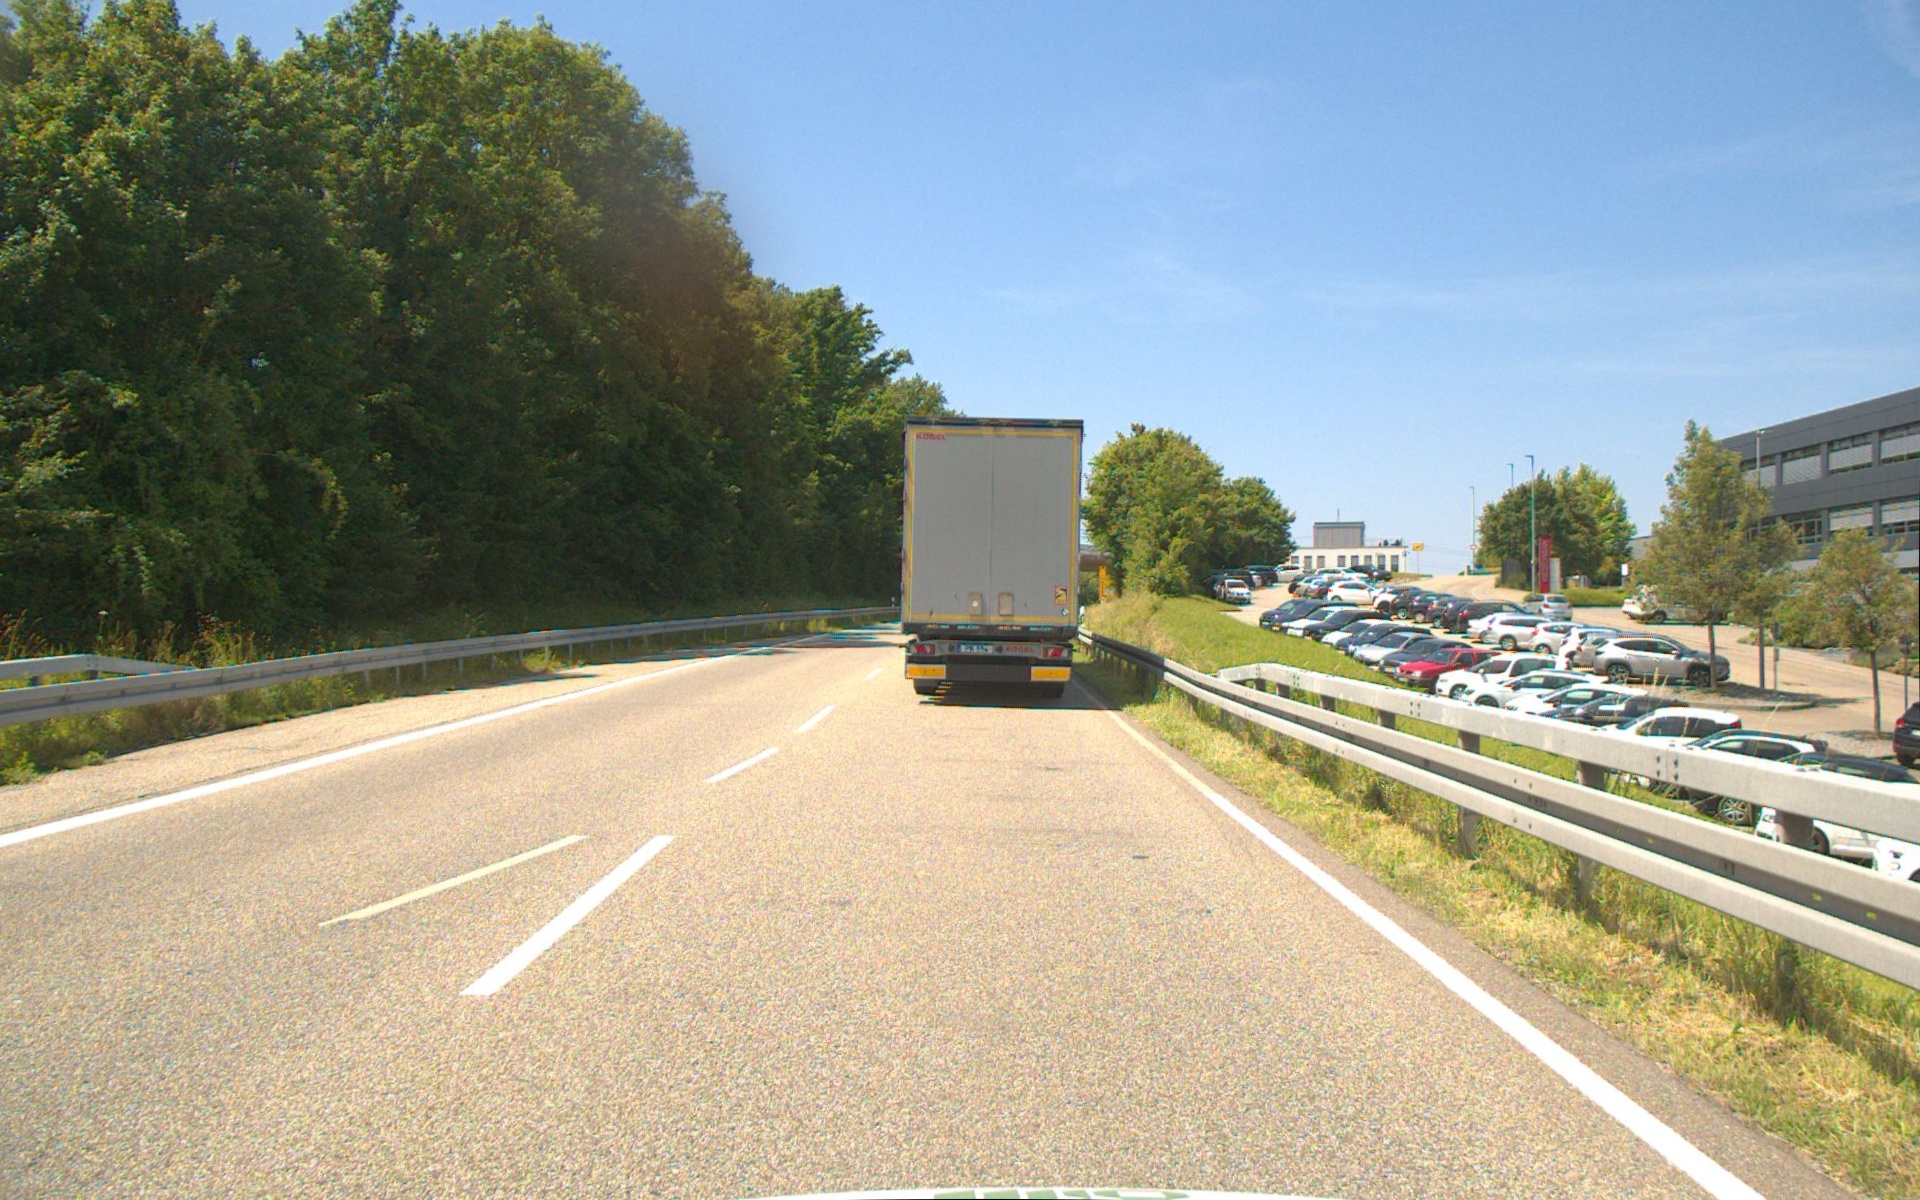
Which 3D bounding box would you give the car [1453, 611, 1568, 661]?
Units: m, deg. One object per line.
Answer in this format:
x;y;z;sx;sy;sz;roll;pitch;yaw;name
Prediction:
24.392;1.565;73.353;4.487;1.656;1.818;7;3;28;car

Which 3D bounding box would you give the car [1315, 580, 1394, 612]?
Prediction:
24.554;-0.262;102.931;4.480;1.656;1.820;4;2;22;car

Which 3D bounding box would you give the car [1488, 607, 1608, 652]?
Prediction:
24.824;1.236;69.919;4.489;1.546;1.817;3;5;32;car

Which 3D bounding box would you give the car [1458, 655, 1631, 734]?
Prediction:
16.753;2.665;47.451;4.285;1.585;1.884;7;3;30;car

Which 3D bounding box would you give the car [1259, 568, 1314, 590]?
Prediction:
28.144;-1.801;142.563;4.312;1.714;1.872;0;5;-28;car

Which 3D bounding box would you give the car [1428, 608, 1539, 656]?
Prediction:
24.119;1.436;76.222;4.487;1.656;1.818;7;3;28;car

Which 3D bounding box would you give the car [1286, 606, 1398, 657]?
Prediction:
16.129;1.337;69.779;4.312;1.714;1.872;4;3;-28;car

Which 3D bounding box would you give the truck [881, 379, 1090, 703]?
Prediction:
0.410;-0.847;27.885;2.807;4.435;9.789;1;0;1;truck

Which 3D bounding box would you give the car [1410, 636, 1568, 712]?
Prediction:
16.239;2.234;50.793;4.358;1.714;1.888;7;3;23;car

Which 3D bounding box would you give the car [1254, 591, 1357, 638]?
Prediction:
15.907;0.663;76.070;4.312;1.714;1.872;4;3;-28;car

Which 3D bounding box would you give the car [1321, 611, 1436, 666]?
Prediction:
16.140;1.487;63.670;4.328;1.714;1.866;4;3;-36;car

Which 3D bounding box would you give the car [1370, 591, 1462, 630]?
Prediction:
25.043;0.573;90.929;4.487;1.656;1.818;7;3;28;car

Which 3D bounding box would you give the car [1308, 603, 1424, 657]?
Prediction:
16.465;1.221;67.020;4.312;1.714;1.872;4;3;-28;car

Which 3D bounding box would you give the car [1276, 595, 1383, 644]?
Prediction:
16.376;0.873;73.277;4.312;1.714;1.872;4;3;-28;car

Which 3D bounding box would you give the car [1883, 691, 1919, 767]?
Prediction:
25.199;3.180;41.409;4.187;1.656;1.802;-2;6;-32;car

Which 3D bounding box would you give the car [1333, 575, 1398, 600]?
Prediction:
31.343;-0.969;127.852;4.495;1.657;1.814;3;0;36;car

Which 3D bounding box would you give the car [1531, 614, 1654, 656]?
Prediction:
25.475;1.404;66.647;4.482;1.503;1.819;-1;3;27;car

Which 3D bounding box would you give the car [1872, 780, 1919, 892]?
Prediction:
17.004;4.028;26.380;4.034;1.543;1.678;7;3;24;car

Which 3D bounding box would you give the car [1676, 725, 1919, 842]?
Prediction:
16.637;3.569;32.770;4.283;1.480;1.816;7;3;28;car

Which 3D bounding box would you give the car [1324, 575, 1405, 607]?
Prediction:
24.495;-0.574;100.155;4.479;1.657;1.820;4;2;22;car

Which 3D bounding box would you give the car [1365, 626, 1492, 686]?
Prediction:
16.265;1.945;57.332;4.328;1.714;1.866;4;3;-36;car

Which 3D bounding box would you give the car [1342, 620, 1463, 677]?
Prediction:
16.190;1.768;60.450;4.328;1.714;1.866;4;3;-36;car

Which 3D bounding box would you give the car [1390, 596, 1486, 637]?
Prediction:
25.212;0.856;87.322;4.487;1.656;1.818;7;3;28;car

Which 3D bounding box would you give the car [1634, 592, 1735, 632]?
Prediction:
38.169;0.624;87.216;4.477;1.983;1.821;1;2;1;car

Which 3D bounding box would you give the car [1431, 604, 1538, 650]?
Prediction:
24.939;1.252;78.641;4.487;1.656;1.818;7;3;28;car

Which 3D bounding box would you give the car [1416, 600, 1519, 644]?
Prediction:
25.056;1.066;81.733;4.487;1.656;1.818;7;3;28;car

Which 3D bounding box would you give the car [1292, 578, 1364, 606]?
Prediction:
24.956;-0.538;112.261;4.479;1.657;1.820;2;-1;22;car

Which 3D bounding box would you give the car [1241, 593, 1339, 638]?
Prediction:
15.789;0.755;79.110;4.312;1.714;1.872;4;3;-28;car

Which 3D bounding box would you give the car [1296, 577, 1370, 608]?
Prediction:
24.662;-0.521;109.407;4.480;1.656;1.820;5;3;22;car

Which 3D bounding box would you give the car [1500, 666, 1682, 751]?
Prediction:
16.793;2.842;44.046;4.280;1.585;1.887;7;3;25;car

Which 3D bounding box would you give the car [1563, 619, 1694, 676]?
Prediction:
25.649;1.789;63.464;4.483;1.656;1.820;3;7;27;car

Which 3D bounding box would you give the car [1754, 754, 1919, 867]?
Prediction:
16.628;3.852;29.511;4.283;1.418;1.816;7;3;28;car

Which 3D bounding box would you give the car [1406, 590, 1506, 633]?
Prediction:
25.270;0.558;84.323;4.487;1.656;1.818;7;3;28;car

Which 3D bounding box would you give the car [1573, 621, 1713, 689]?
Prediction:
25.090;2.001;60.795;4.486;1.654;1.820;7;11;26;car

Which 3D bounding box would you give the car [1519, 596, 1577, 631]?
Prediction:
31.583;0.702;88.935;1.769;1.691;4.001;3;0;2;car

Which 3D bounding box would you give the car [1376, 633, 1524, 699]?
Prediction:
16.078;2.162;54.262;4.301;1.714;1.878;5;2;-21;car

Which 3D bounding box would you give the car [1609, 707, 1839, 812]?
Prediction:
16.416;3.388;35.684;4.280;1.480;1.817;7;3;25;car

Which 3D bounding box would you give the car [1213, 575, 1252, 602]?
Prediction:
17.262;-0.729;104.836;1.592;1.376;3.710;5;3;-3;car

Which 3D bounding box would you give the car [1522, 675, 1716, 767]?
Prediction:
16.495;2.986;41.410;4.280;1.585;1.887;7;3;25;car

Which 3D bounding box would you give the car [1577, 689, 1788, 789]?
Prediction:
16.814;3.194;38.572;4.280;1.585;1.861;7;3;25;car

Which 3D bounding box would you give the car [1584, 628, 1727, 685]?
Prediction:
24.363;1.944;57.965;4.483;1.656;1.819;2;4;27;car
